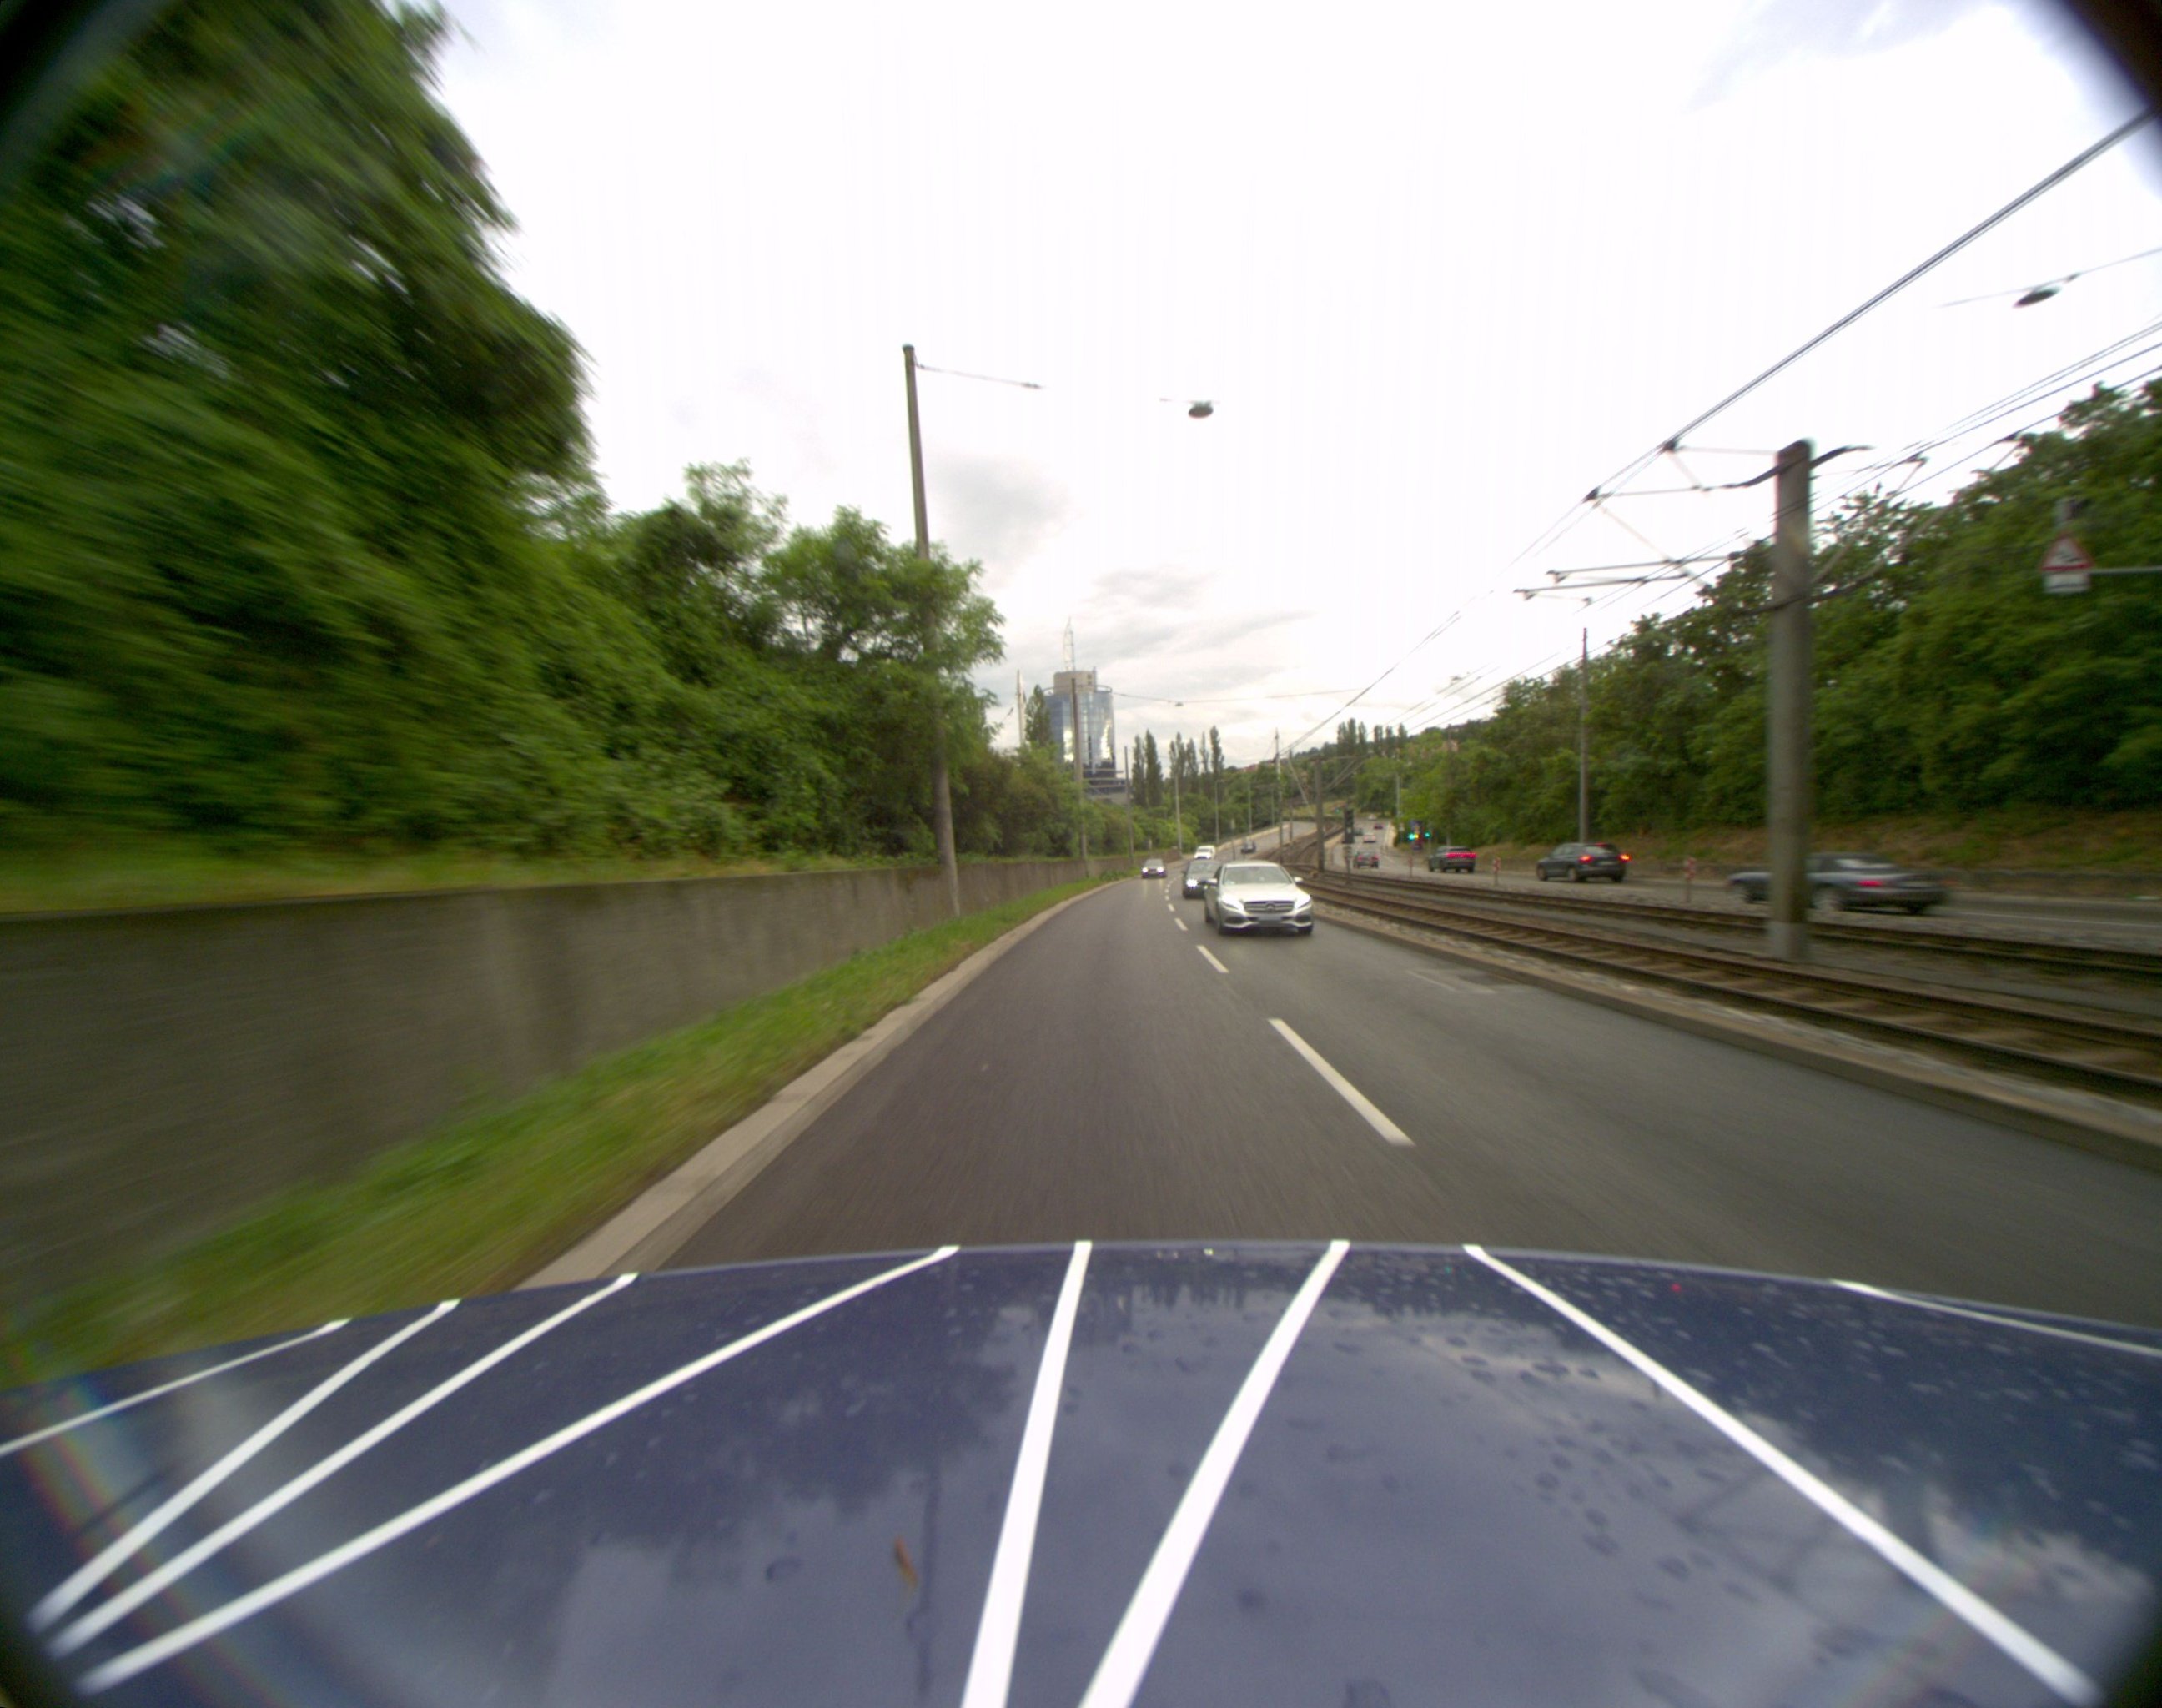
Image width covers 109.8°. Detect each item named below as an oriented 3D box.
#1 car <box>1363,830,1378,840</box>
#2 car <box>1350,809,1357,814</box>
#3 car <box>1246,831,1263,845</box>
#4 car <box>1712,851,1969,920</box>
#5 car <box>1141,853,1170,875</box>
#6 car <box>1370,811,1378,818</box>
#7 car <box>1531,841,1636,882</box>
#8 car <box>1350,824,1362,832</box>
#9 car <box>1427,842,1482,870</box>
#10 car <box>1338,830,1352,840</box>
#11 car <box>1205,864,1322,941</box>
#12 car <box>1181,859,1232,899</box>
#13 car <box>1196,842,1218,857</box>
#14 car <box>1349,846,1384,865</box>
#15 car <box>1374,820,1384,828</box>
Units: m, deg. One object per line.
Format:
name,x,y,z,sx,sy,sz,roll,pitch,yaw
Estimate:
car,45.556,-2.966,119.653,1.821,1.372,4.711,-1,1,17
car,83.415,-13.057,232.958,1.971,1.589,5.188,0,4,20
car,24.584,-2.259,107.402,1.765,1.806,4.006,-2,0,21
car,15.540,0.573,15.890,1.547,1.251,3.960,0,0,3
car,5.672,0.717,57.394,1.766,1.492,4.003,-2,1,12
car,77.969,-10.536,202.069,1.823,1.507,4.531,-1,5,19
car,20.705,0.283,31.539,1.711,1.598,4.412,0,0,5
car,50.346,-4.791,139.104,1.635,1.376,3.898,0,2,14
car,23.410,0.116,47.840,1.787,1.660,4.743,-2,0,10
car,41.823,-2.991,120.247,1.863,1.431,4.860,-2,2,22
car,3.702,0.925,16.093,1.871,1.348,4.062,-1,0,6
car,4.805,0.922,29.403,1.735,1.344,4.002,-2,0,7
car,15.843,-0.544,95.369,1.765,1.806,4.006,-2,0,21
car,23.231,0.129,61.927,1.709,1.406,4.034,-2,0,8
car,61.951,-6.179,157.904,1.717,1.451,4.279,-1,4,23
